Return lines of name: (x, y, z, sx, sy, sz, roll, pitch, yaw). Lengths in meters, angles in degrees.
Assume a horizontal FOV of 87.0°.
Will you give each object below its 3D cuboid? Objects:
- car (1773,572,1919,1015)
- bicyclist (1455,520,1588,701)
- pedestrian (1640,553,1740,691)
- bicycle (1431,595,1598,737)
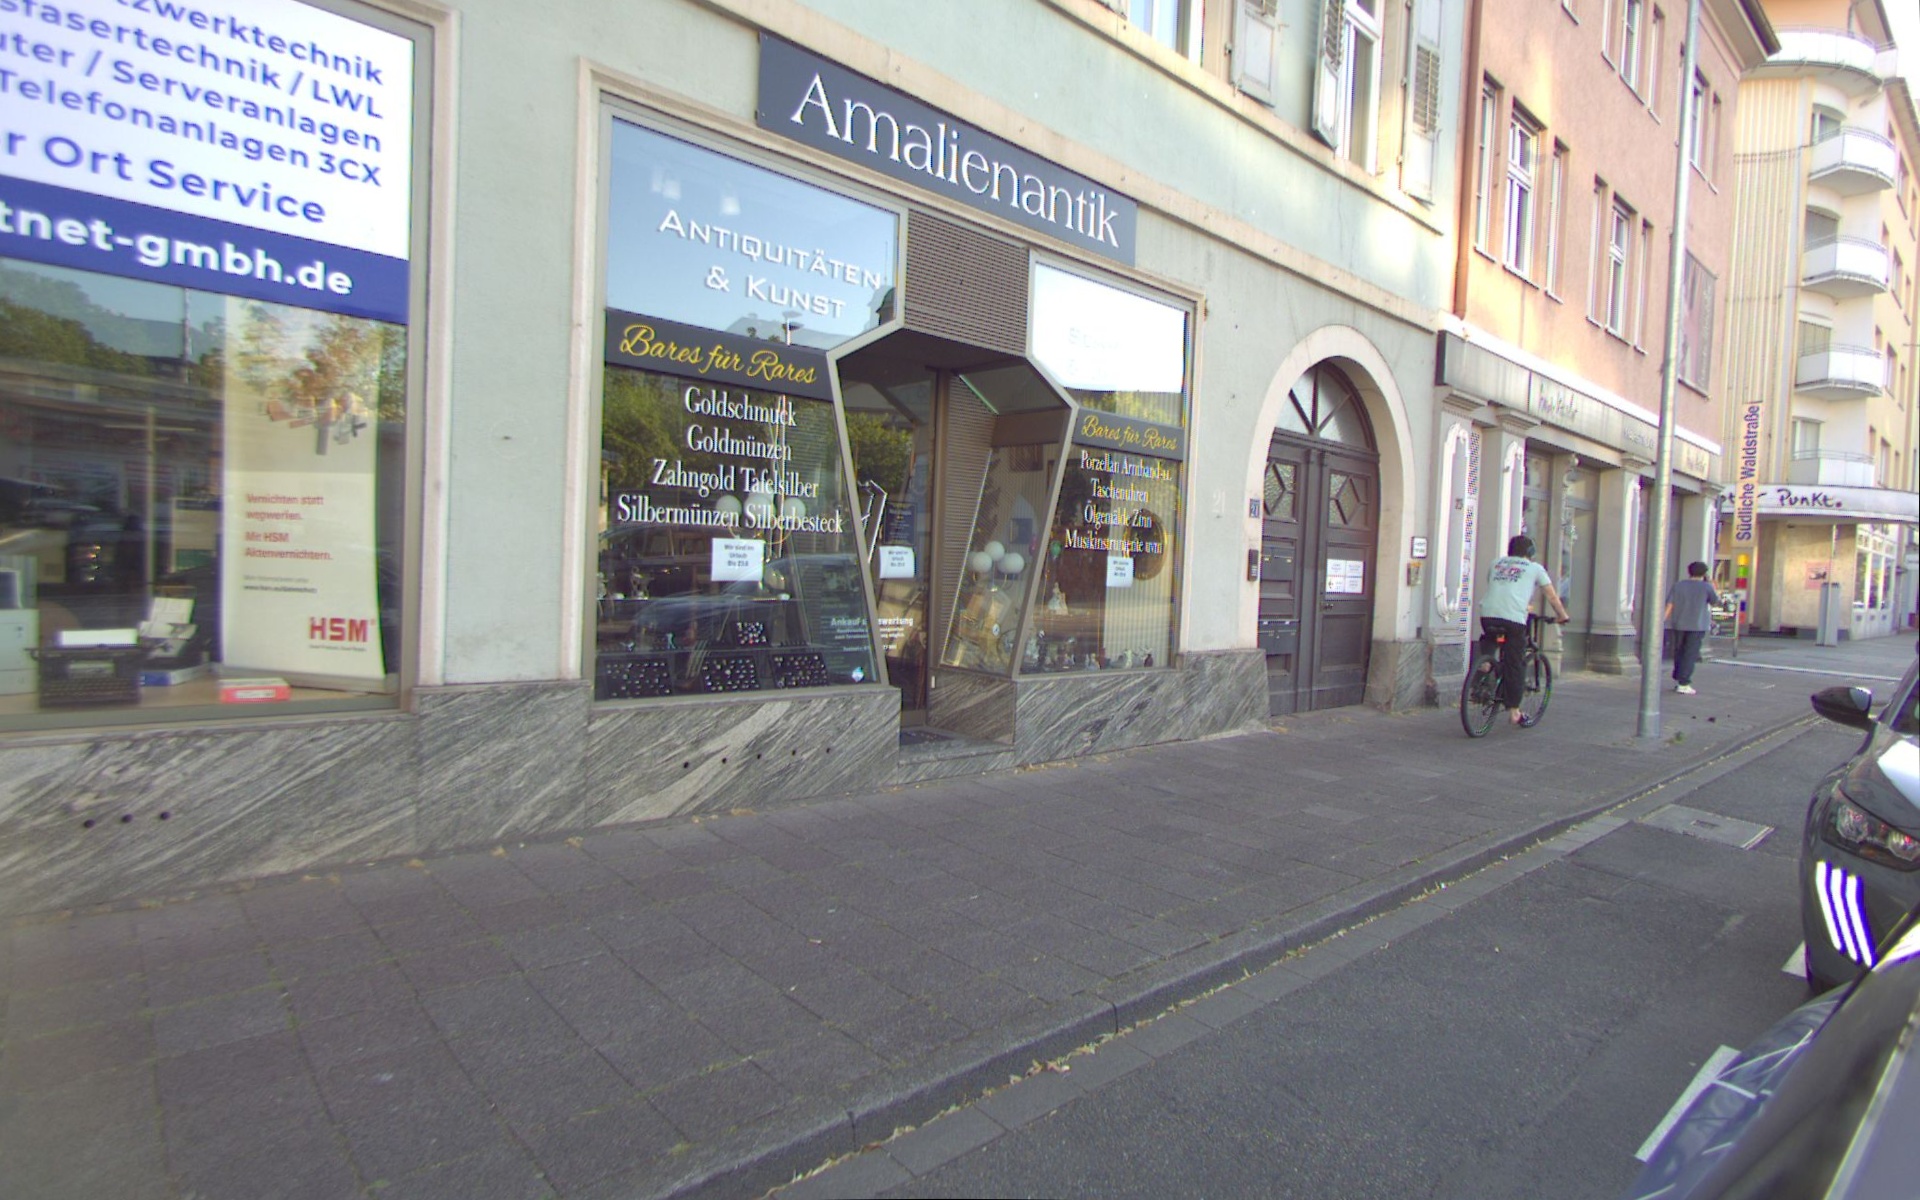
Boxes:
car: (5.193, 0.669, 4.409, 4.374, 1.464, 1.906, 0, 2, -43)
bicyclist: (5.052, 0.070, 9.113, 0.884, 1.526, 0.723, 1, 2, -40)
pedestrian: (9.333, 0.253, 12.940, 0.857, 1.662, 0.824, 0, 3, -43)
bicycle: (5.011, 0.538, 9.096, 1.863, 1.121, 0.691, 0, 2, -42)
